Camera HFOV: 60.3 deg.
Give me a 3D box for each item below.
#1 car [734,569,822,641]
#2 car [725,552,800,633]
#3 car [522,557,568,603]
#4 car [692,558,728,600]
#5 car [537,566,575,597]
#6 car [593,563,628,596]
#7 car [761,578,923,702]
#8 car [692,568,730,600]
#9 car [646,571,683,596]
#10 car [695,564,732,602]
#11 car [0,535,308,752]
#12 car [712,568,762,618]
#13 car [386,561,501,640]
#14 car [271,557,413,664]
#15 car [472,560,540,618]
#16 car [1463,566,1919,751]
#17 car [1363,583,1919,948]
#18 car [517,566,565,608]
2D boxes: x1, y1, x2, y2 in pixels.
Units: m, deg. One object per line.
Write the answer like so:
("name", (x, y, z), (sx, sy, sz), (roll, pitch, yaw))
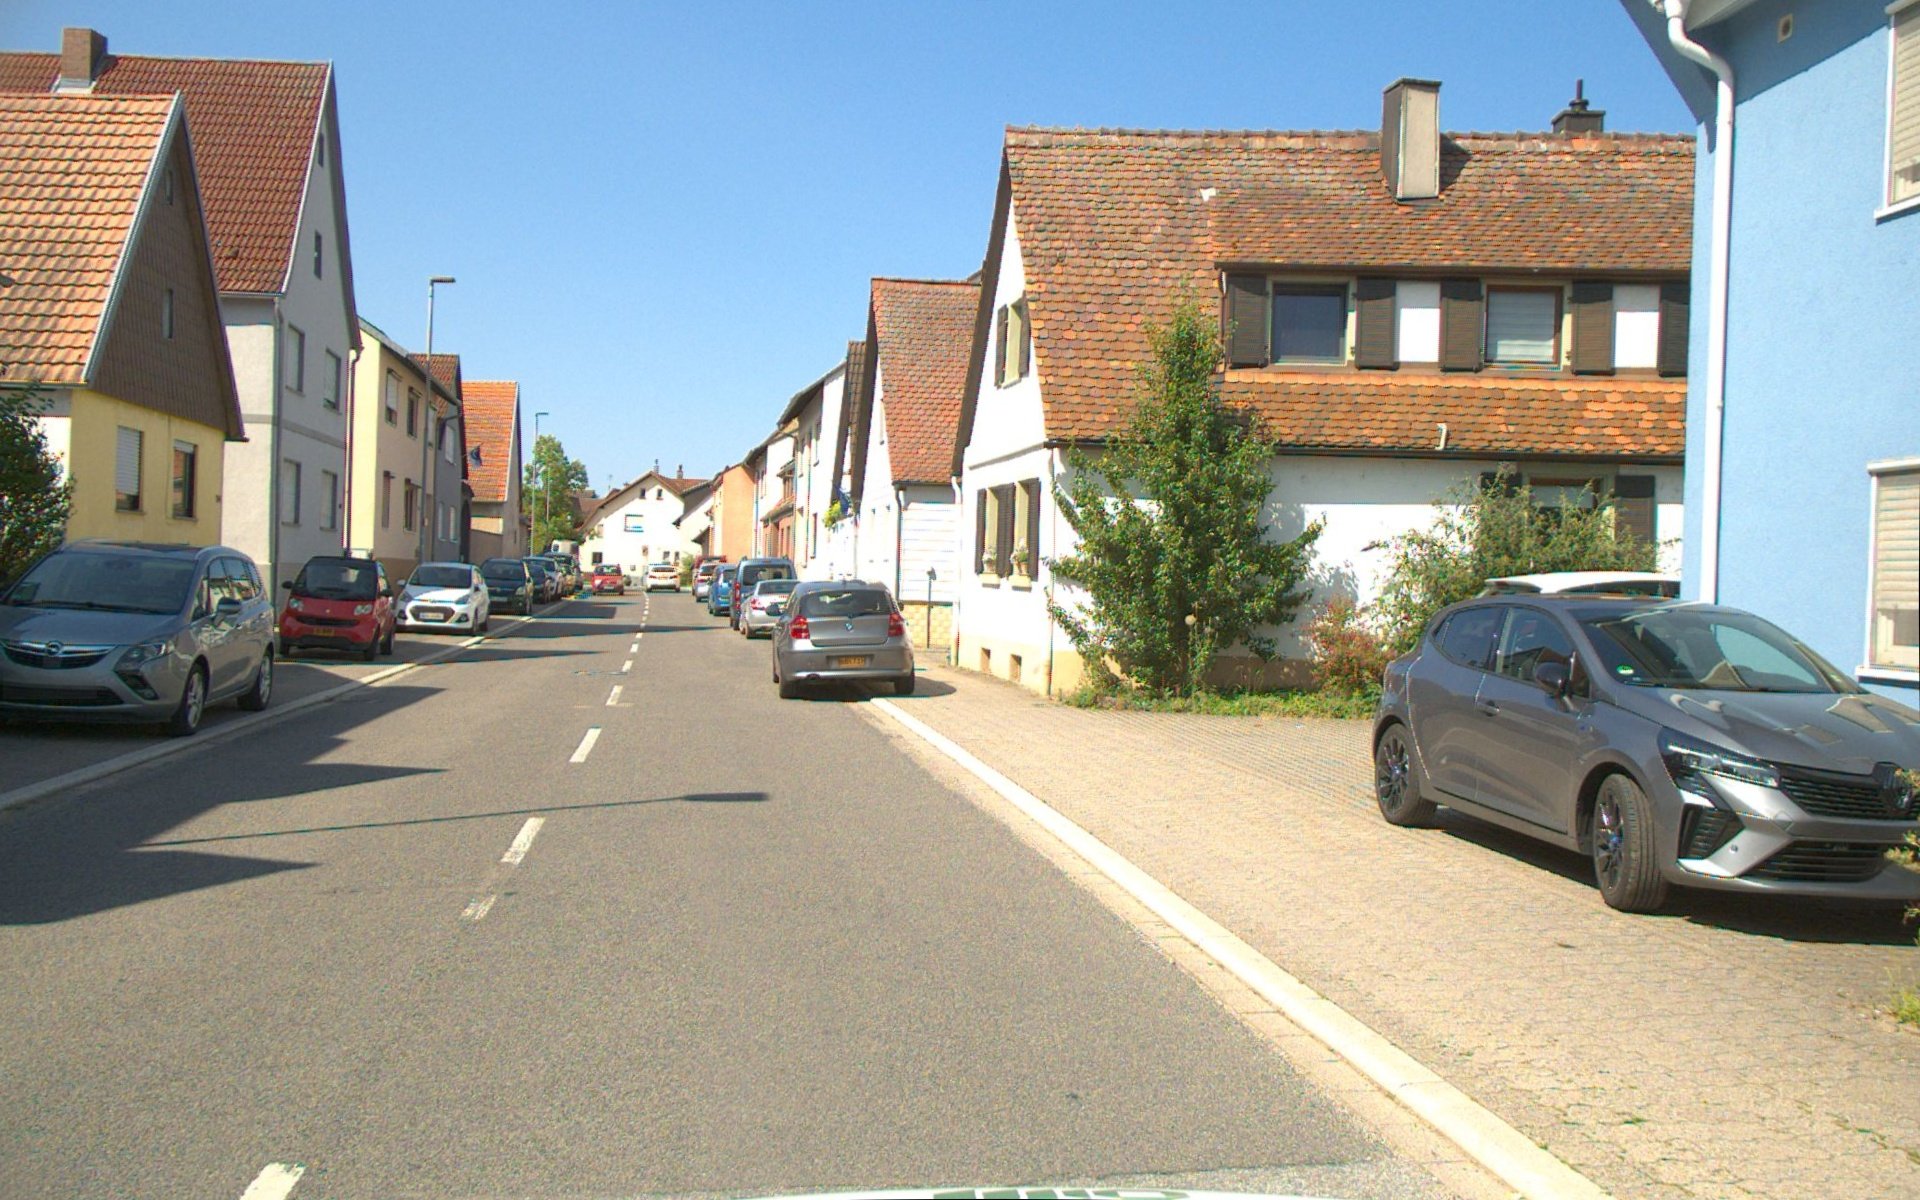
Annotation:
("car", (-4.232, 0.099, 38.086), (1.674, 1.523, 3.443), (2, 0, -11))
("car", (-5.167, -0.209, 42.941), (1.620, 1.943, 3.616), (2, 0, -11))
("car", (-16.497, -0.793, 65.809), (1.500, 1.743, 3.616), (2, 0, -11))
("car", (-12.728, -1.053, 84.075), (1.734, 2.039, 3.442), (1, 0, -10))
("car", (-19.123, -0.875, 78.322), (1.500, 1.379, 3.616), (2, 0, -11))
("car", (-17.388, -1.026, 82.439), (1.572, 1.515, 3.616), (2, 0, -11))
("car", (-1.622, 0.447, 21.625), (1.674, 1.458, 3.879), (0, 1, -11))
("car", (-11.906, -0.774, 78.960), (1.734, 1.458, 3.442), (1, 0, -10))
("car", (-16.471, -0.905, 92.296), (1.957, 1.310, 3.990), (1, 0, -10))
("car", (-10.603, -0.733, 71.033), (1.395, 1.541, 3.295), (2, 0, -11))
("car", (-7.568, 0.314, 15.303), (1.838, 1.665, 4.654), (2, 0, -9))
("car", (-7.279, -0.236, 53.830), (1.395, 1.541, 3.295), (2, 0, -11))
("car", (-11.367, -0.011, 36.667), (1.773, 1.574, 4.394), (2, 0, -9))
("car", (-9.876, 0.146, 26.607), (1.524, 1.571, 2.981), (2, 0, -9))
("car", (-13.631, -0.338, 49.816), (1.590, 1.605, 3.951), (2, 0, -11))
("car", (7.389, 0.563, 16.587), (4.092, 1.686, 1.810), (1, 0, -4))
("car", (3.684, 0.675, 8.745), (1.657, 1.444, 4.139), (2, 0, -7))
("car", (-15.645, -0.479, 61.868), (1.477, 1.478, 3.500), (1, 0, -10))
